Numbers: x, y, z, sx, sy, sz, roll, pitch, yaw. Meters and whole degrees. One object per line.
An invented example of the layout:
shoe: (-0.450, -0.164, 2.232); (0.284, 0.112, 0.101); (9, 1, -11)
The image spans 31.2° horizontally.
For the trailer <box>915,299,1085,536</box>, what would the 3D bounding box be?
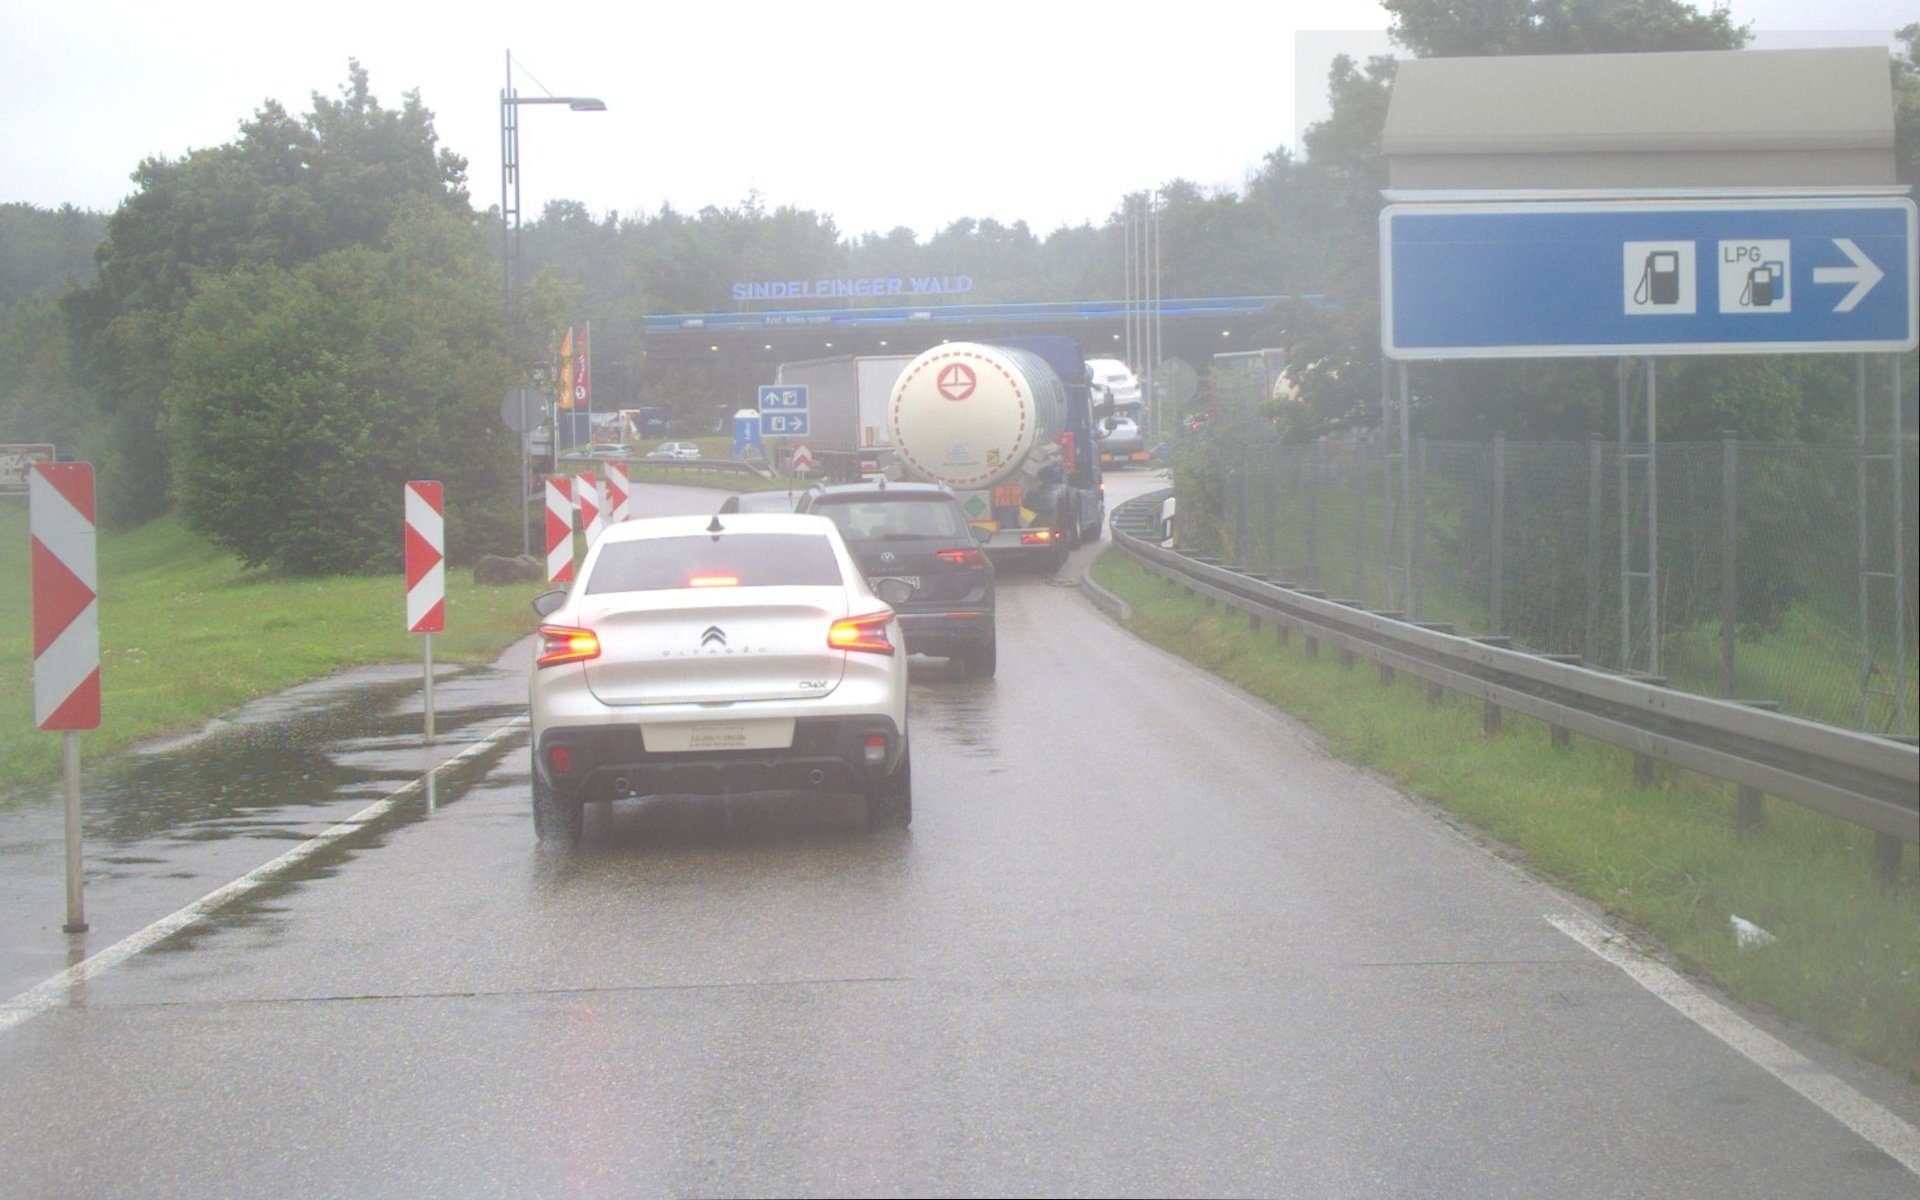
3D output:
trailer: (0.737, -2.807, 52.593); (1.980, 3.213, 10.322); (-1, 3, 4)

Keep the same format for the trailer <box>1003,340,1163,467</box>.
trailer: (4.169, -6.849, 119.606); (3.215, 4.174, 11.534); (-1, 4, -10)

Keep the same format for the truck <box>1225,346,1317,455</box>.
truck: (11.269, -7.275, 124.771); (2.425, 3.792, 4.002); (-3, 4, -7)

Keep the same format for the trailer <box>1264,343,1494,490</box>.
trailer: (10.630, -4.678, 86.089); (2.134, 3.428, 10.239); (0, 4, 28)

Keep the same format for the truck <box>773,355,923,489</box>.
truck: (-3.607, -5.582, 107.209); (2.370, 3.860, 12.460); (-3, 4, -12)

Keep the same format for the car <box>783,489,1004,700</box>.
car: (-0.563, -0.086, 29.472); (1.742, 1.661, 4.000); (1, 1, -1)

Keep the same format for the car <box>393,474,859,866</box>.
car: (-1.535, 0.244, 16.934); (1.993, 1.673, 4.001); (-1, 2, -2)

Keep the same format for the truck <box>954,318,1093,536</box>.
truck: (1.128, -2.956, 58.548); (2.053, 3.518, 4.746); (-1, 3, 4)
